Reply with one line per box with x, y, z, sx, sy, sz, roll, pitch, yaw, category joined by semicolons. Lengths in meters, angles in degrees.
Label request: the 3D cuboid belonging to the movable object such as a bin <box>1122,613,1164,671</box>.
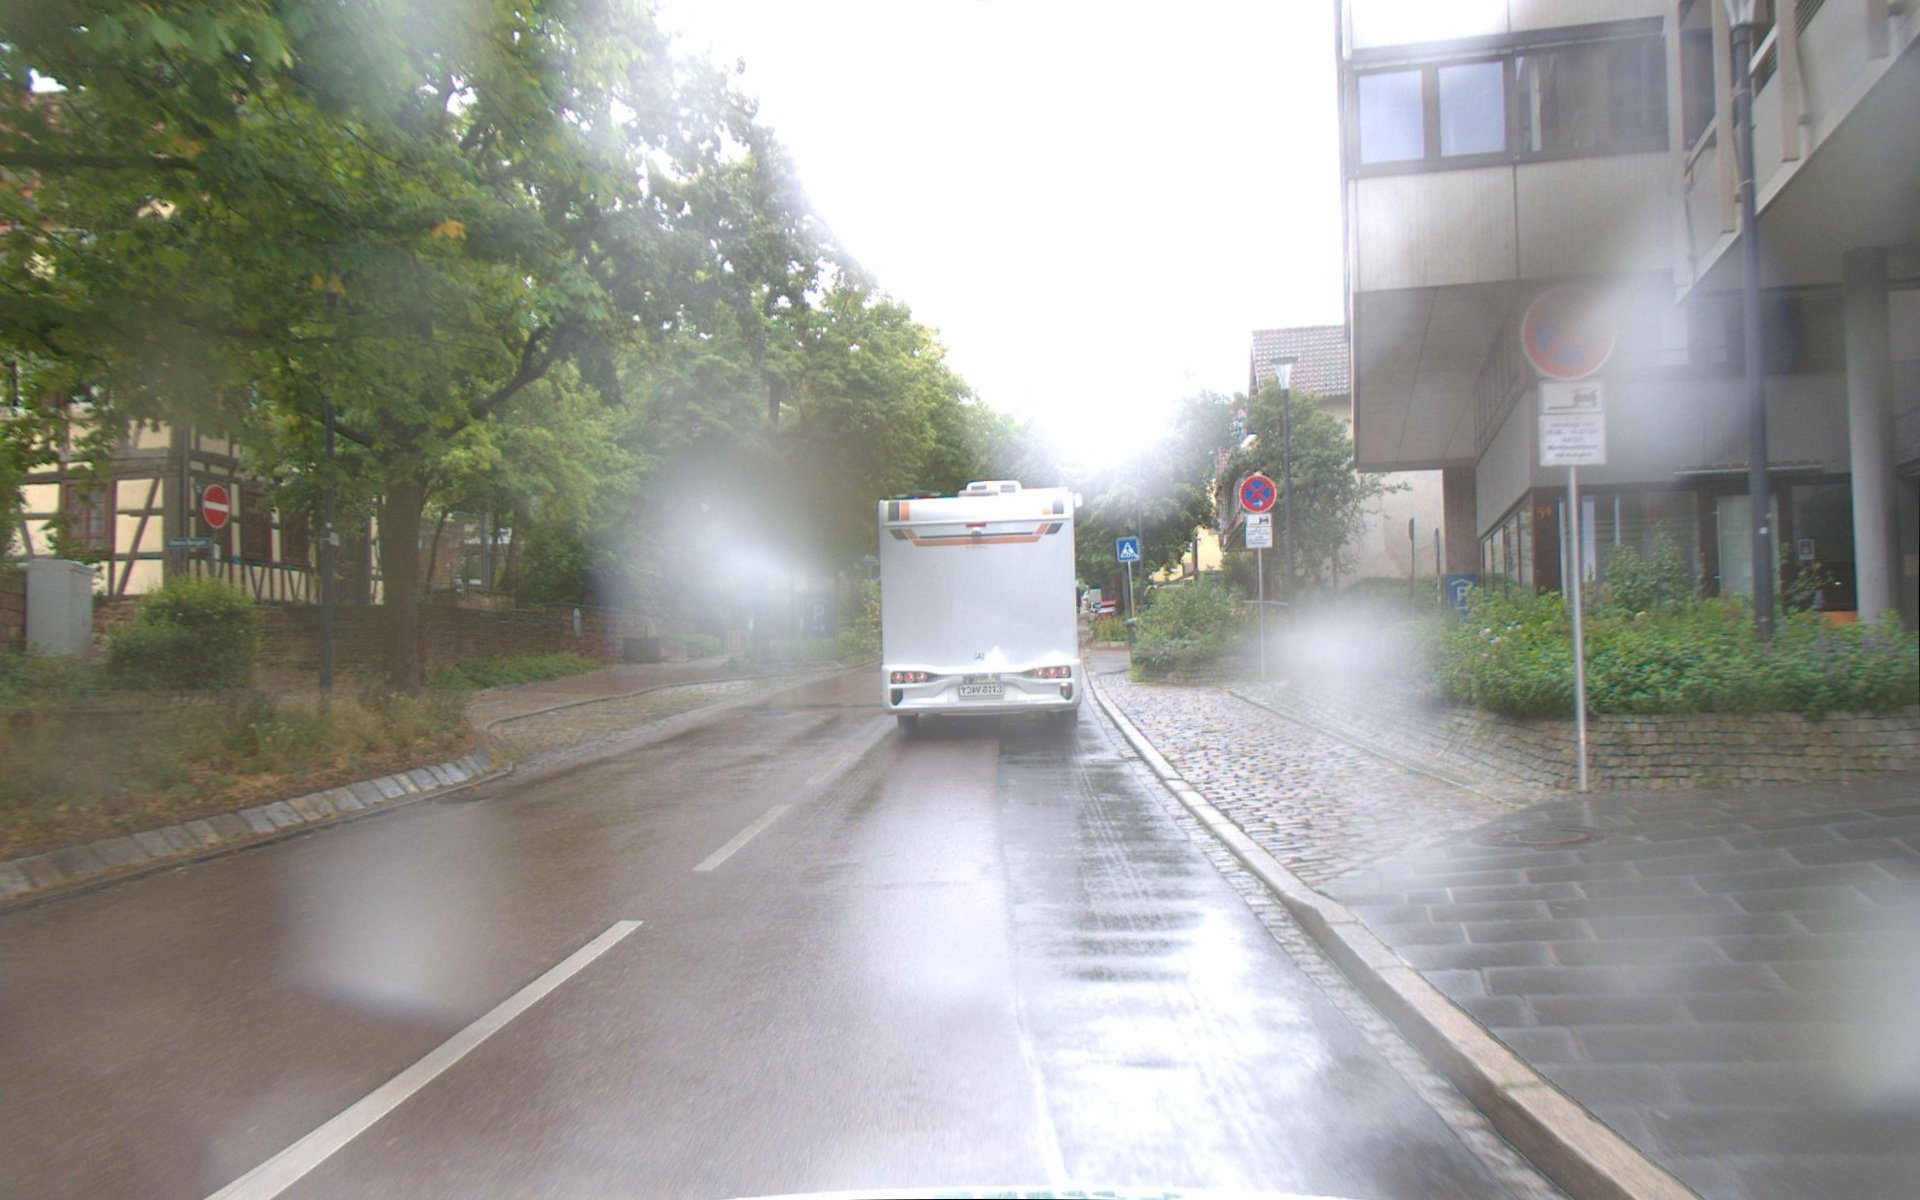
3.691;0.851;33.370;0.689;1.144;0.571;-3;-2;20;movable object such as a bin

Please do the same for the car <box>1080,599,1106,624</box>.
8.937;0.795;111.068;1.614;1.569;3.532;-2;-2;5;car

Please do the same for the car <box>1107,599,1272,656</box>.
5.999;0.714;43.595;4.193;1.441;1.841;0;0;3;car

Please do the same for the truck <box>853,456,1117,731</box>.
0.468;0.026;20.884;2.747;2.846;6.109;-2;-2;4;truck

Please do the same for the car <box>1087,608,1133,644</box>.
6.496;1.101;71.430;1.816;1.498;4.368;0;0;7;car
